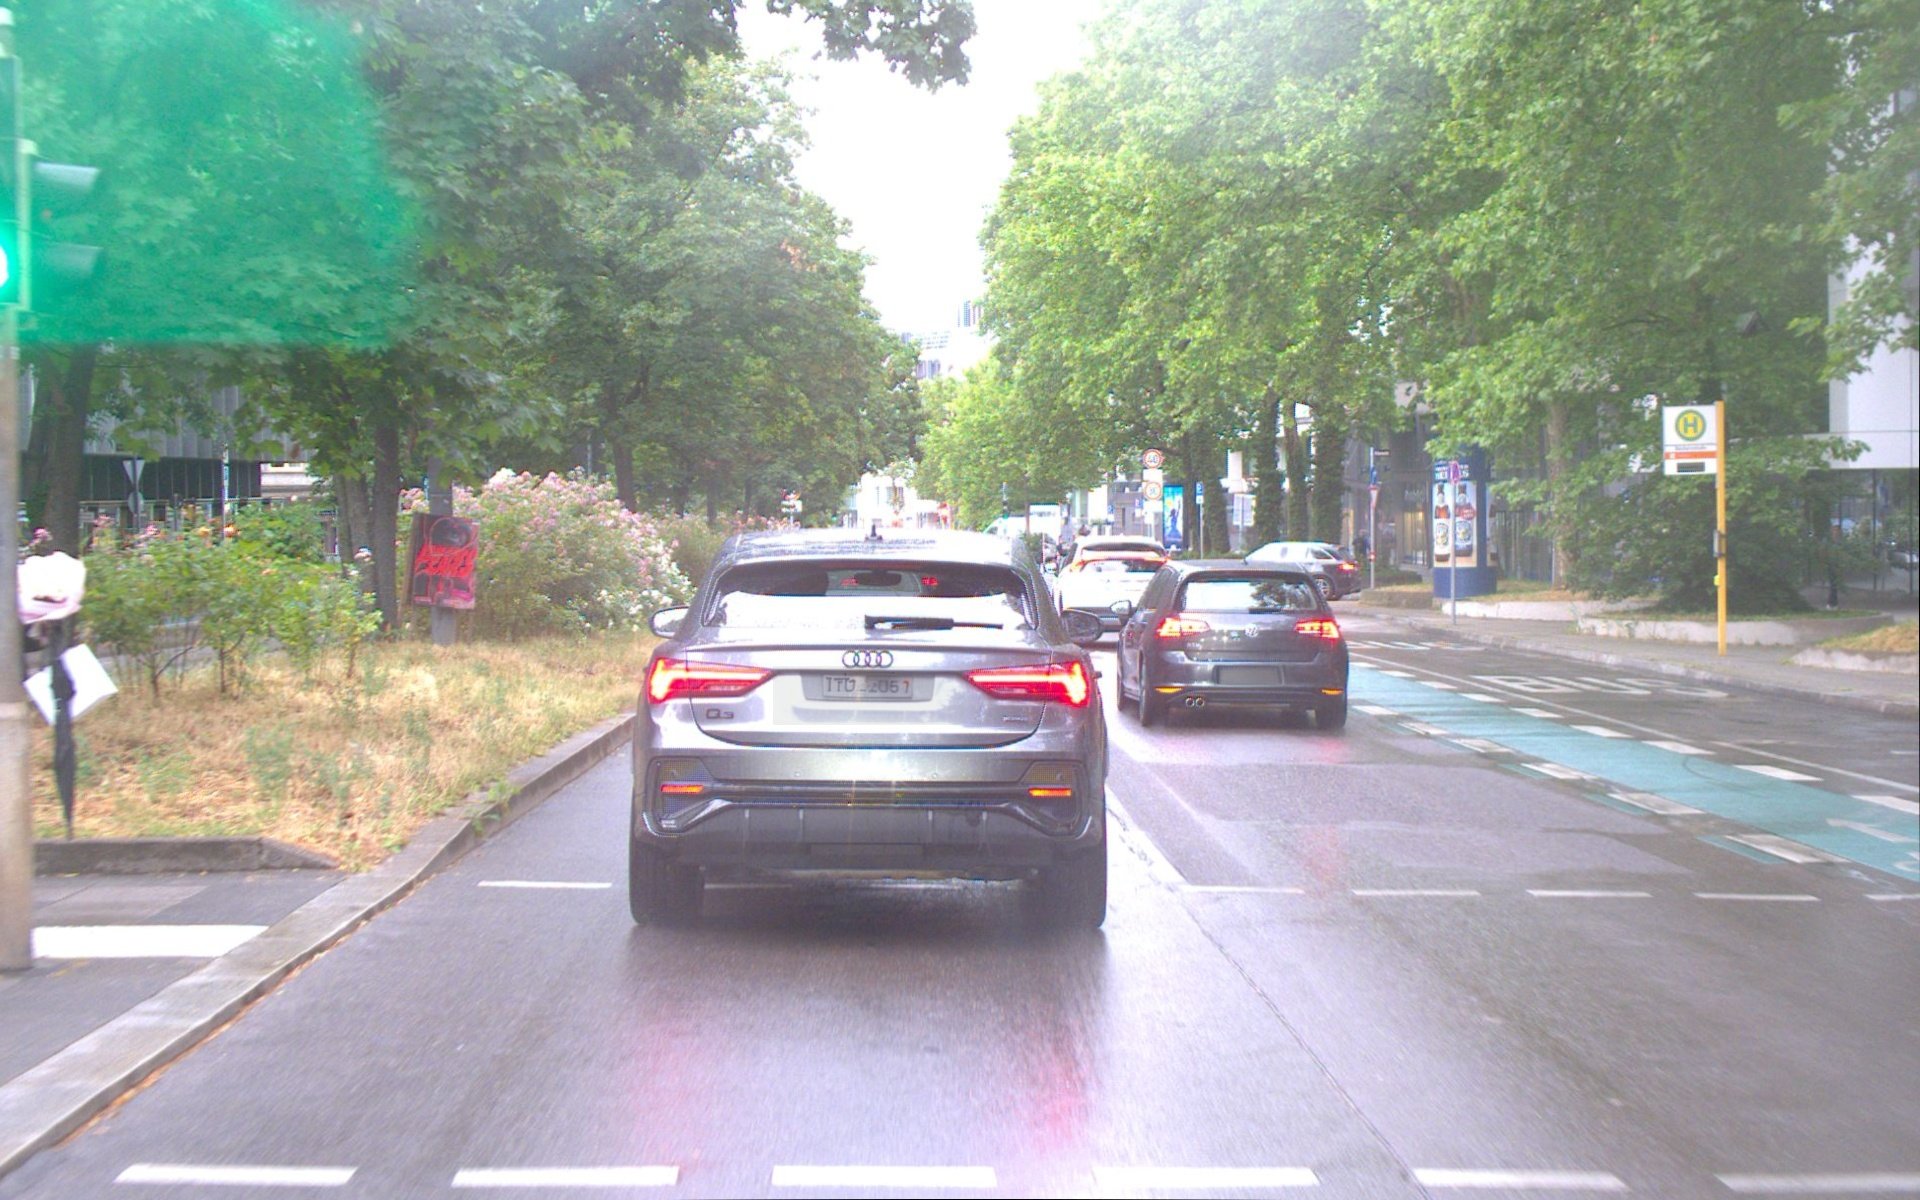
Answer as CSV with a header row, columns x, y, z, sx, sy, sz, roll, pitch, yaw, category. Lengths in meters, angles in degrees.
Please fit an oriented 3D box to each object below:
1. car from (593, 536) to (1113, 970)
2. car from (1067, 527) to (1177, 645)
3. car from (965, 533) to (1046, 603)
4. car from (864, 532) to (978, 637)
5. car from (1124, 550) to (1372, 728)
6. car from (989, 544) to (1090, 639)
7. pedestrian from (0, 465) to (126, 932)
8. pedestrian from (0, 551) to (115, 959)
x,y,z,sx,sy,sz,roll,pitch,yaw,category
-0.368,0.505,14.582,1.863,1.527,4.527,0,1,0,car
2.382,-0.232,51.034,1.433,1.679,2.979,-1,1,-1,car
1.154,-0.855,89.133,1.993,1.744,4.000,0,1,-1,car
-0.635,-0.279,54.201,1.721,1.572,3.962,0,1,-1,car
2.479,0.294,30.495,1.765,1.408,4.001,-1,1,-1,car
1.524,-0.193,67.262,1.822,1.744,4.000,0,1,-1,car
-3.379,0.353,12.679,0.573,1.692,0.404,0,1,-13,pedestrian
-3.296,0.547,12.434,0.422,1.445,0.385,0,1,-19,pedestrian
